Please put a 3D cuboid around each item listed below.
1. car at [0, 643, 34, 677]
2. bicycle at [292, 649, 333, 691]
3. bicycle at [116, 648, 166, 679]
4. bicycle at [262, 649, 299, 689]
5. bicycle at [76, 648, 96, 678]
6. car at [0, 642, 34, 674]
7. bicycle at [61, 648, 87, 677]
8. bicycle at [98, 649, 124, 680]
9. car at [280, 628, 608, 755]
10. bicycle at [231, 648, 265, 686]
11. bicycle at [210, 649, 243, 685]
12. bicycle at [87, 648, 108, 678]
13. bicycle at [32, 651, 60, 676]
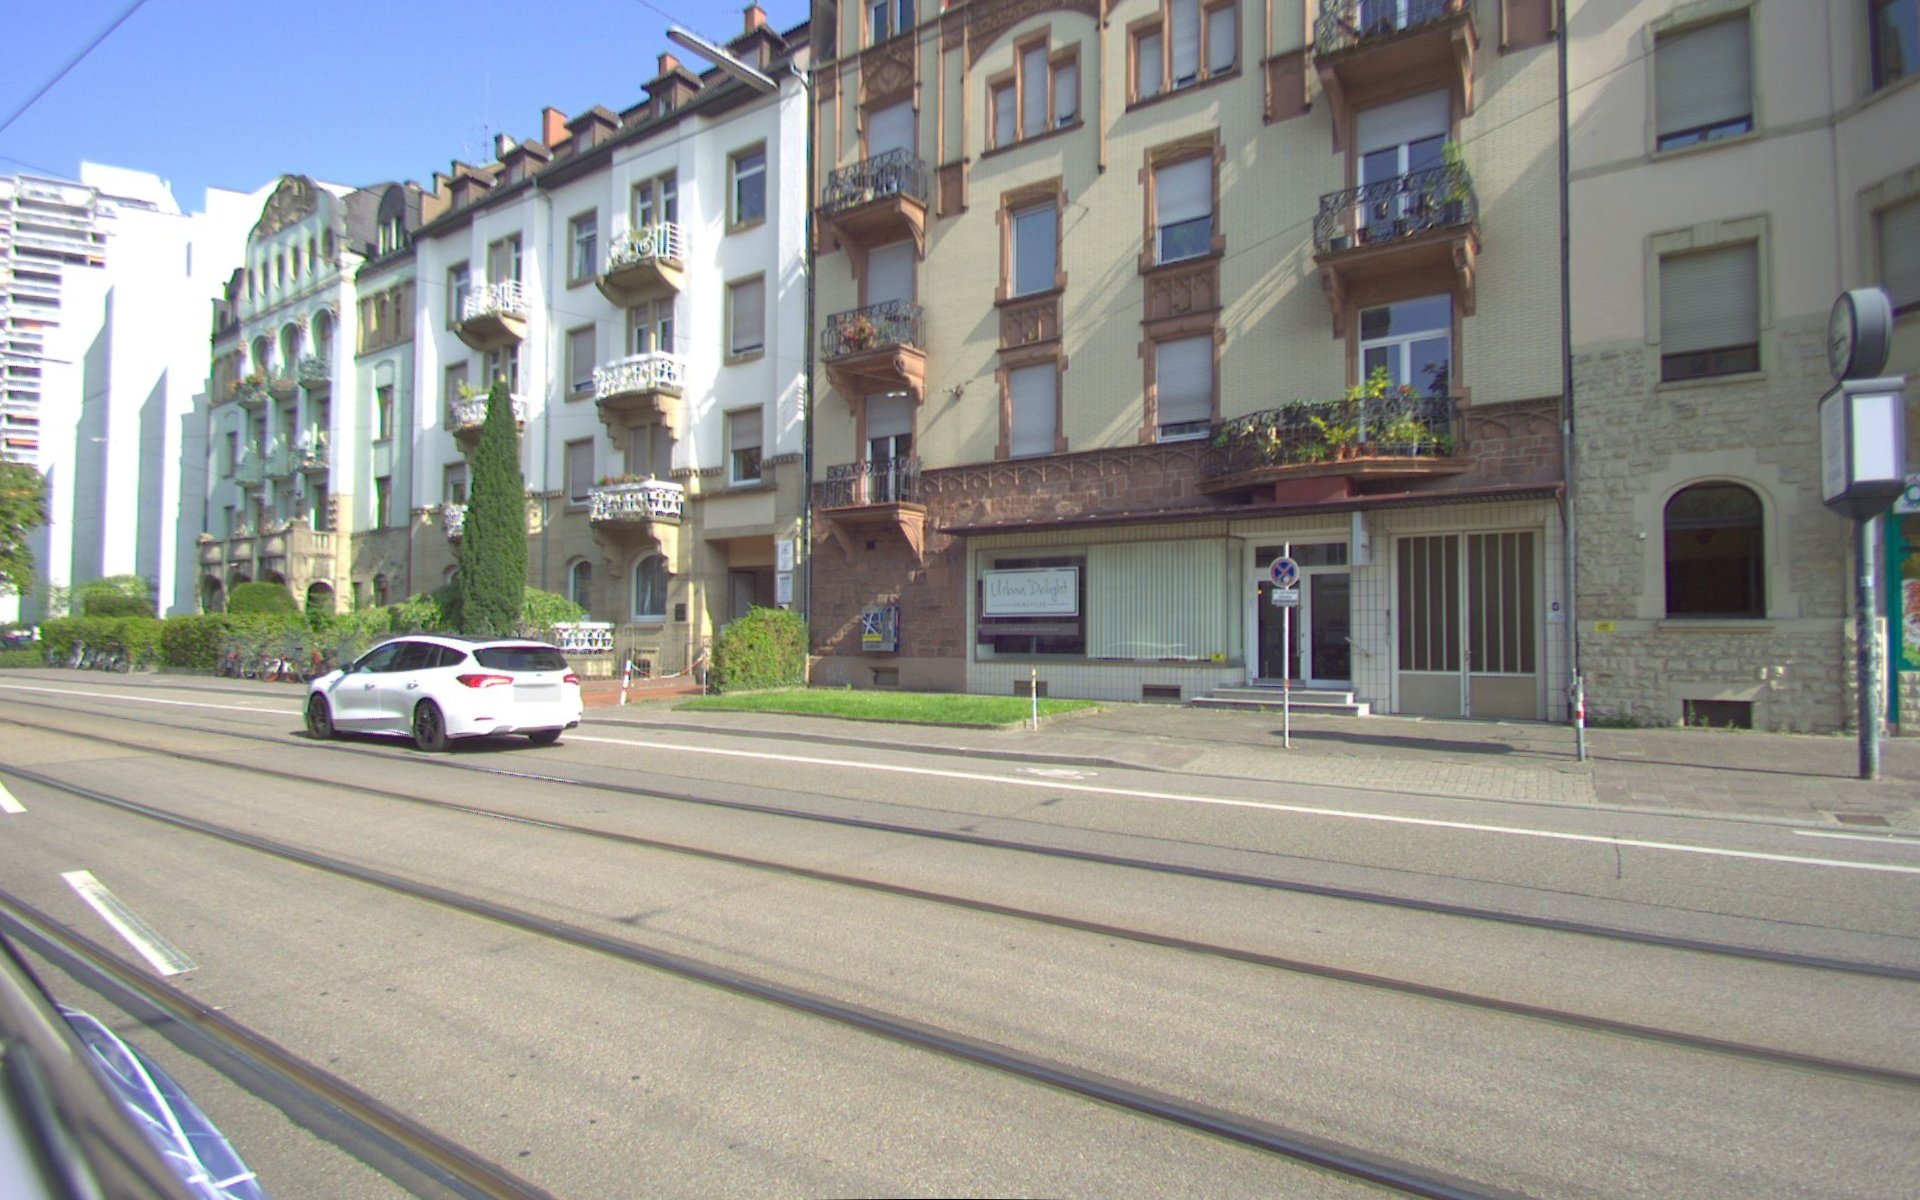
[{"bbox_3d":[-44.718,2.726,46.298,1.743,1.539,4.010,1,-3,-14],"label":"car"},{"bbox_3d":[-17.449,1.872,27.257,1.484,1.096,0.367,-2,-3,35],"label":"bicycle"},{"bbox_3d":[-29.579,2.289,36.565,0.422,1.096,1.388,-1,-3,17],"label":"bicycle"},{"bbox_3d":[-18.939,1.907,28.217,1.352,1.096,0.367,-2,-3,35],"label":"bicycle"},{"bbox_3d":[-33.103,2.373,38.332,1.677,1.096,0.419,-3,-4,44],"label":"bicycle"},{"bbox_3d":[-47.397,2.810,49.063,1.744,1.539,4.007,0,-3,-9],"label":"car"},{"bbox_3d":[-34.665,2.426,39.599,1.674,1.096,0.420,-2,-4,38],"label":"bicycle"},{"bbox_3d":[-30.745,2.323,36.645,1.675,1.096,0.420,-2,-4,40],"label":"bicycle"},{"bbox_3d":[-7.057,1.189,13.719,4.530,1.466,1.857,-2,-6,32],"label":"car"},{"bbox_3d":[-21.081,1.980,29.956,1.352,1.096,0.367,-2,-3,35],"label":"bicycle"},{"bbox_3d":[-22.488,2.037,31.024,1.352,1.096,0.367,-2,-3,35],"label":"bicycle"},{"bbox_3d":[-32.361,2.368,37.984,1.677,1.096,0.419,-3,-4,44],"label":"bicycle"},{"bbox_3d":[-37.435,2.603,41.433,1.765,0.985,0.421,-2,-3,34],"label":"bicycle"}]
